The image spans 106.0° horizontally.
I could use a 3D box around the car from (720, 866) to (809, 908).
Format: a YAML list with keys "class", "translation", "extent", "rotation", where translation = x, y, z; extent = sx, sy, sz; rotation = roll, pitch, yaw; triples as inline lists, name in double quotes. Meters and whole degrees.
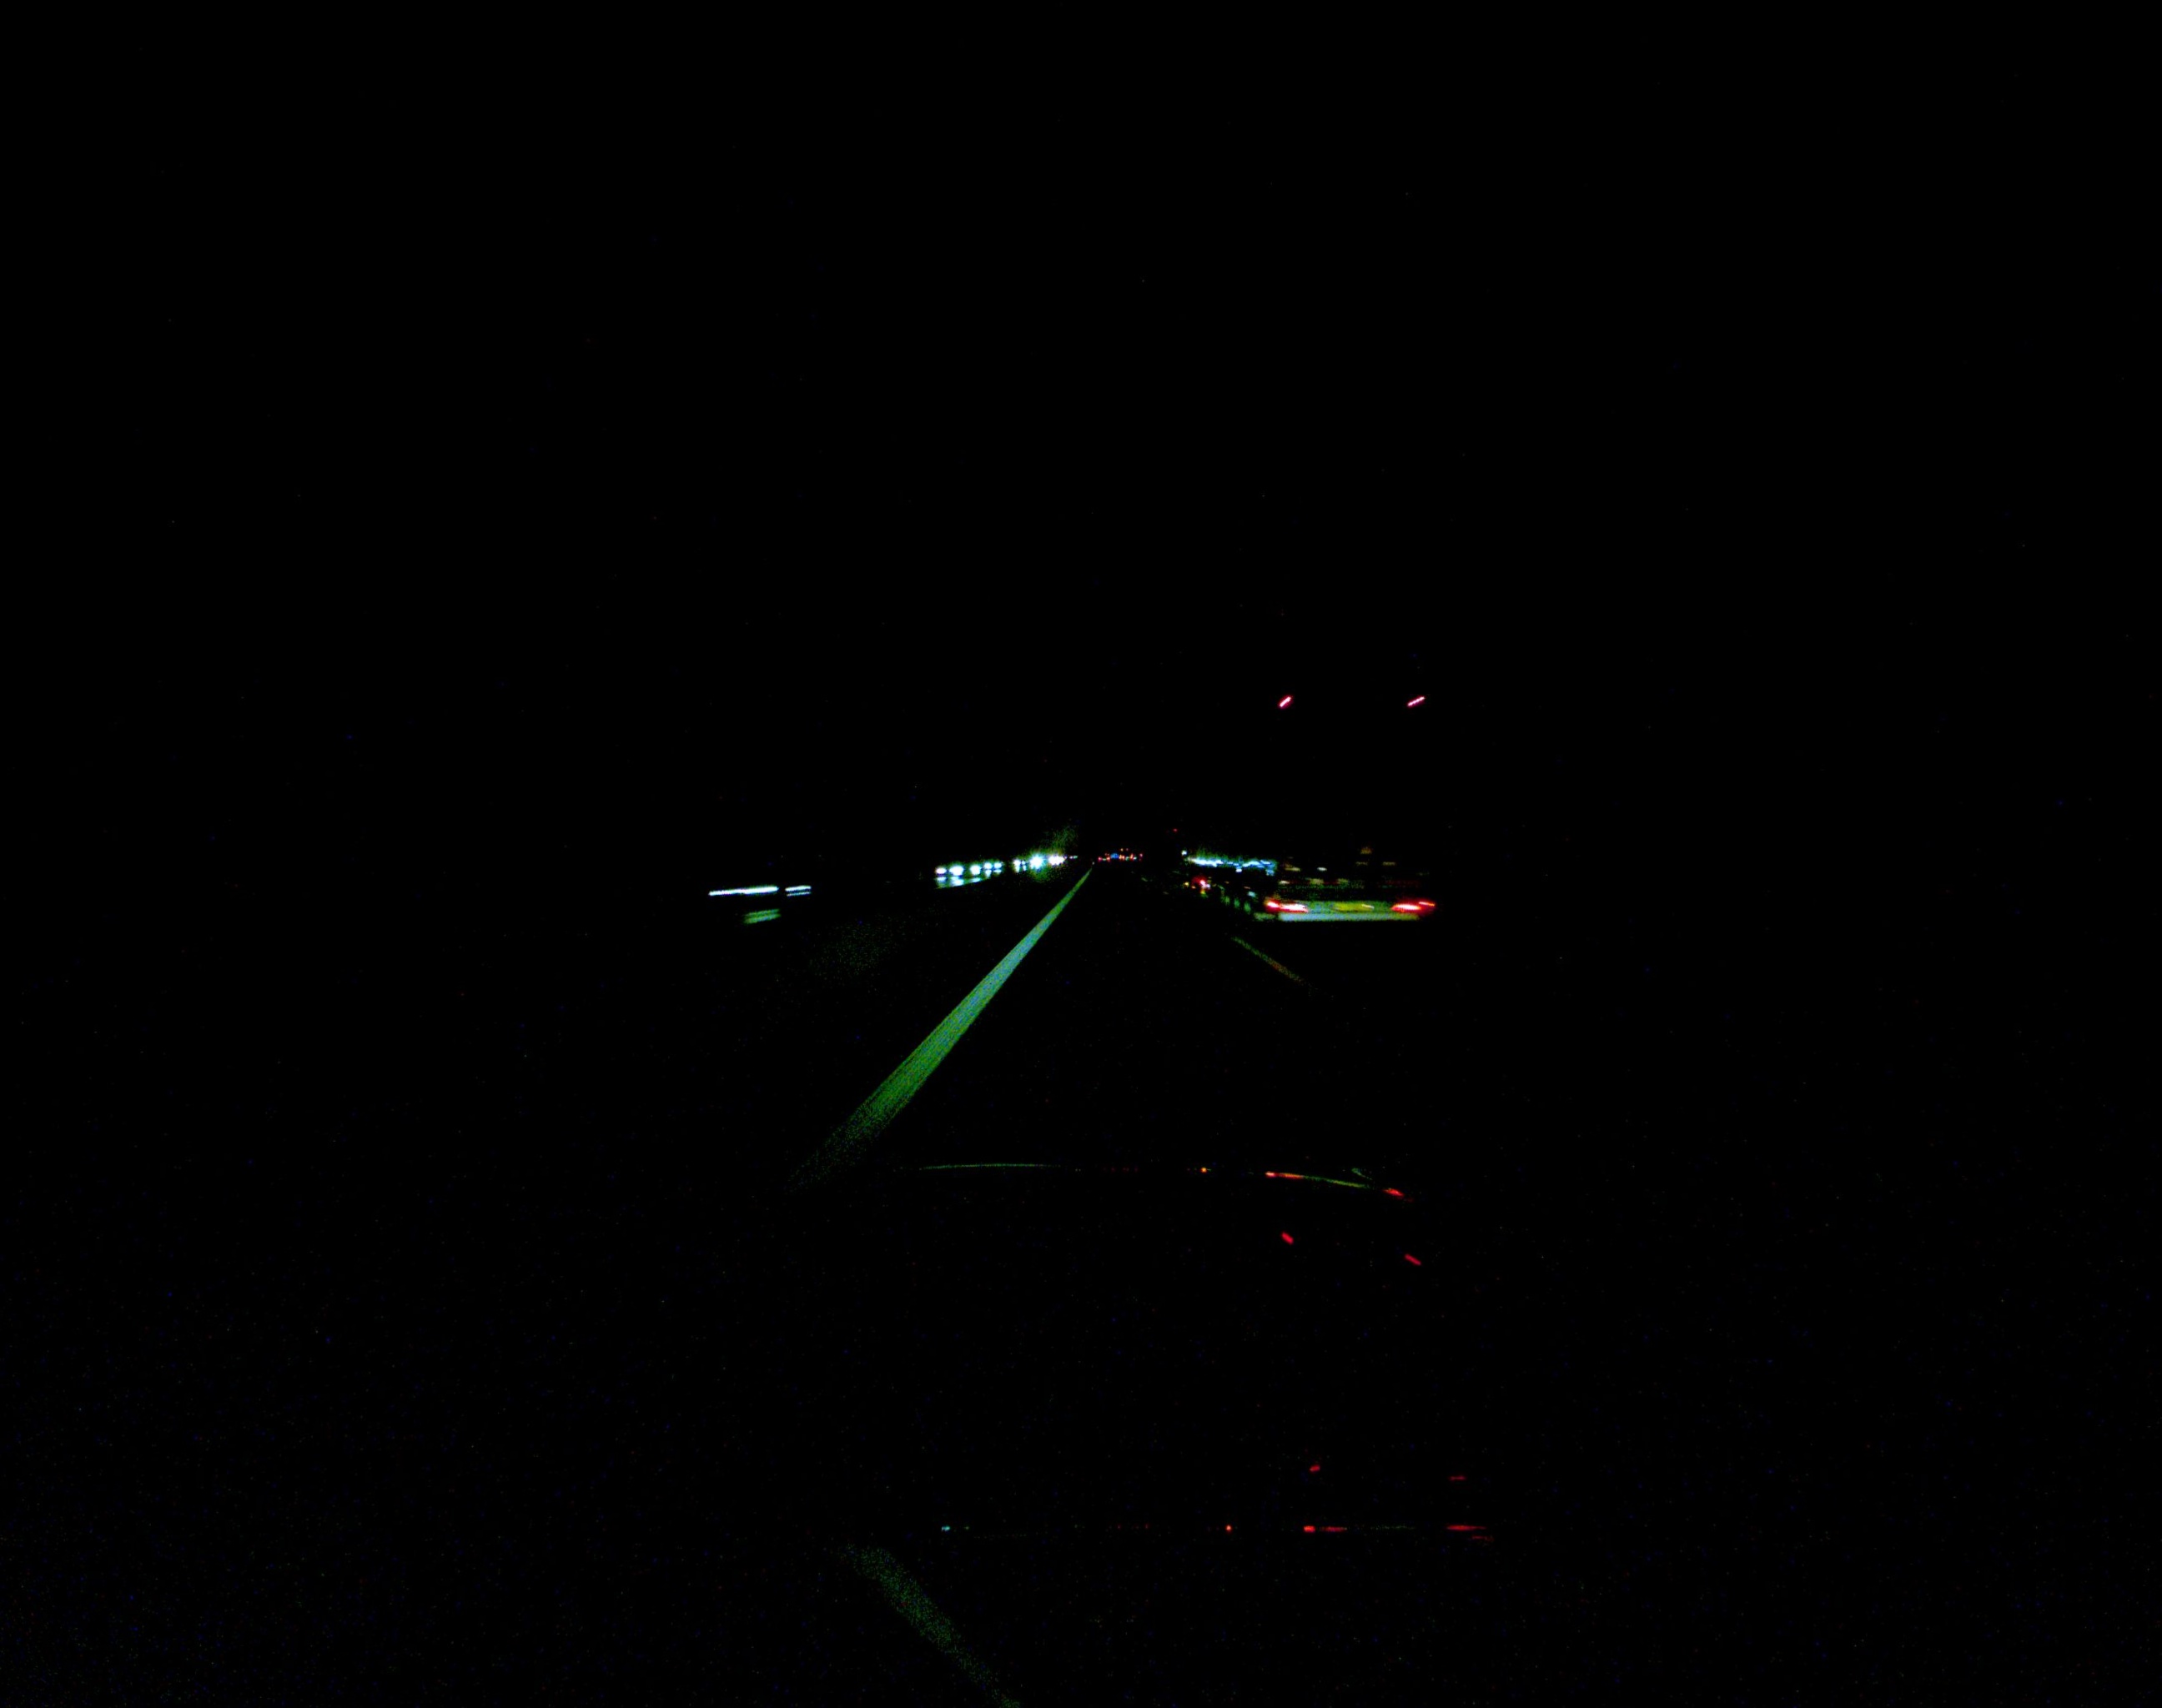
- class: "car"
  translation: [-13.488, 1.366, 35.053]
  extent: [1.744, 1.478, 4.944]
  rotation: [-3, 0, 1]

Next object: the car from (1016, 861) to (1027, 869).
- class: "car"
  translation: [-10.862, 1.935, 149.178]
  extent: [1.657, 1.334, 4.808]
  rotation: [-3, 0, 0]

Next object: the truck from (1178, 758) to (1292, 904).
- class: "truck"
  translation: [4.841, -0.677, 26.895]
  extent: [2.652, 4.206, 6.724]
  rotation: [0, 0, 1]

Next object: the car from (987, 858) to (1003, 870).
- class: "car"
  translation: [-11.796, 1.353, 111.721]
  extent: [1.745, 1.478, 4.723]
  rotation: [-3, 0, -1]

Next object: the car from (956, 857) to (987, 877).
- class: "car"
  translation: [-9.258, 1.053, 68.907]
  extent: [1.744, 1.478, 4.765]
  rotation: [-3, 0, 2]

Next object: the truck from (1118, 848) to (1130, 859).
- class: "truck"
  translation: [12.907, -0.246, 244.430]
  extent: [3.034, 3.324, 10.141]
  rotation: [0, 0, 0]

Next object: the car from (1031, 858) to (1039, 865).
- class: "car"
  translation: [-10.264, 1.635, 181.885]
  extent: [1.626, 1.394, 4.877]
  rotation: [-3, 0, 0]

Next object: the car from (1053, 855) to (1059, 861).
- class: "car"
  translation: [-6.956, 1.031, 226.341]
  extent: [1.745, 1.478, 4.581]
  rotation: [-2, 0, 0]

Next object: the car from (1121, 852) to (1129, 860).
- class: "car"
  translation: [8.096, 0.324, 150.980]
  extent: [1.341, 1.387, 3.501]
  rotation: [0, 0, 1]

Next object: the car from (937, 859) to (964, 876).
- class: "car"
  translation: [-13.070, 1.363, 81.670]
  extent: [1.743, 1.478, 4.484]
  rotation: [-3, 0, 3]

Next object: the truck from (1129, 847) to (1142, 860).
- class: "truck"
  translation: [11.116, -0.101, 166.891]
  extent: [2.071, 2.691, 7.303]
  rotation: [0, -1, -1]

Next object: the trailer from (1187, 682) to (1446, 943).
- class: "trailer"
  translation: [4.674, -0.681, 19.886]
  extent: [2.732, 4.206, 13.514]
  rotation: [0, 0, 1]

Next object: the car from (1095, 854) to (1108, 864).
- class: "car"
  translation: [2.985, 0.717, 117.546]
  extent: [1.815, 1.466, 4.248]
  rotation: [0, 0, 1]
